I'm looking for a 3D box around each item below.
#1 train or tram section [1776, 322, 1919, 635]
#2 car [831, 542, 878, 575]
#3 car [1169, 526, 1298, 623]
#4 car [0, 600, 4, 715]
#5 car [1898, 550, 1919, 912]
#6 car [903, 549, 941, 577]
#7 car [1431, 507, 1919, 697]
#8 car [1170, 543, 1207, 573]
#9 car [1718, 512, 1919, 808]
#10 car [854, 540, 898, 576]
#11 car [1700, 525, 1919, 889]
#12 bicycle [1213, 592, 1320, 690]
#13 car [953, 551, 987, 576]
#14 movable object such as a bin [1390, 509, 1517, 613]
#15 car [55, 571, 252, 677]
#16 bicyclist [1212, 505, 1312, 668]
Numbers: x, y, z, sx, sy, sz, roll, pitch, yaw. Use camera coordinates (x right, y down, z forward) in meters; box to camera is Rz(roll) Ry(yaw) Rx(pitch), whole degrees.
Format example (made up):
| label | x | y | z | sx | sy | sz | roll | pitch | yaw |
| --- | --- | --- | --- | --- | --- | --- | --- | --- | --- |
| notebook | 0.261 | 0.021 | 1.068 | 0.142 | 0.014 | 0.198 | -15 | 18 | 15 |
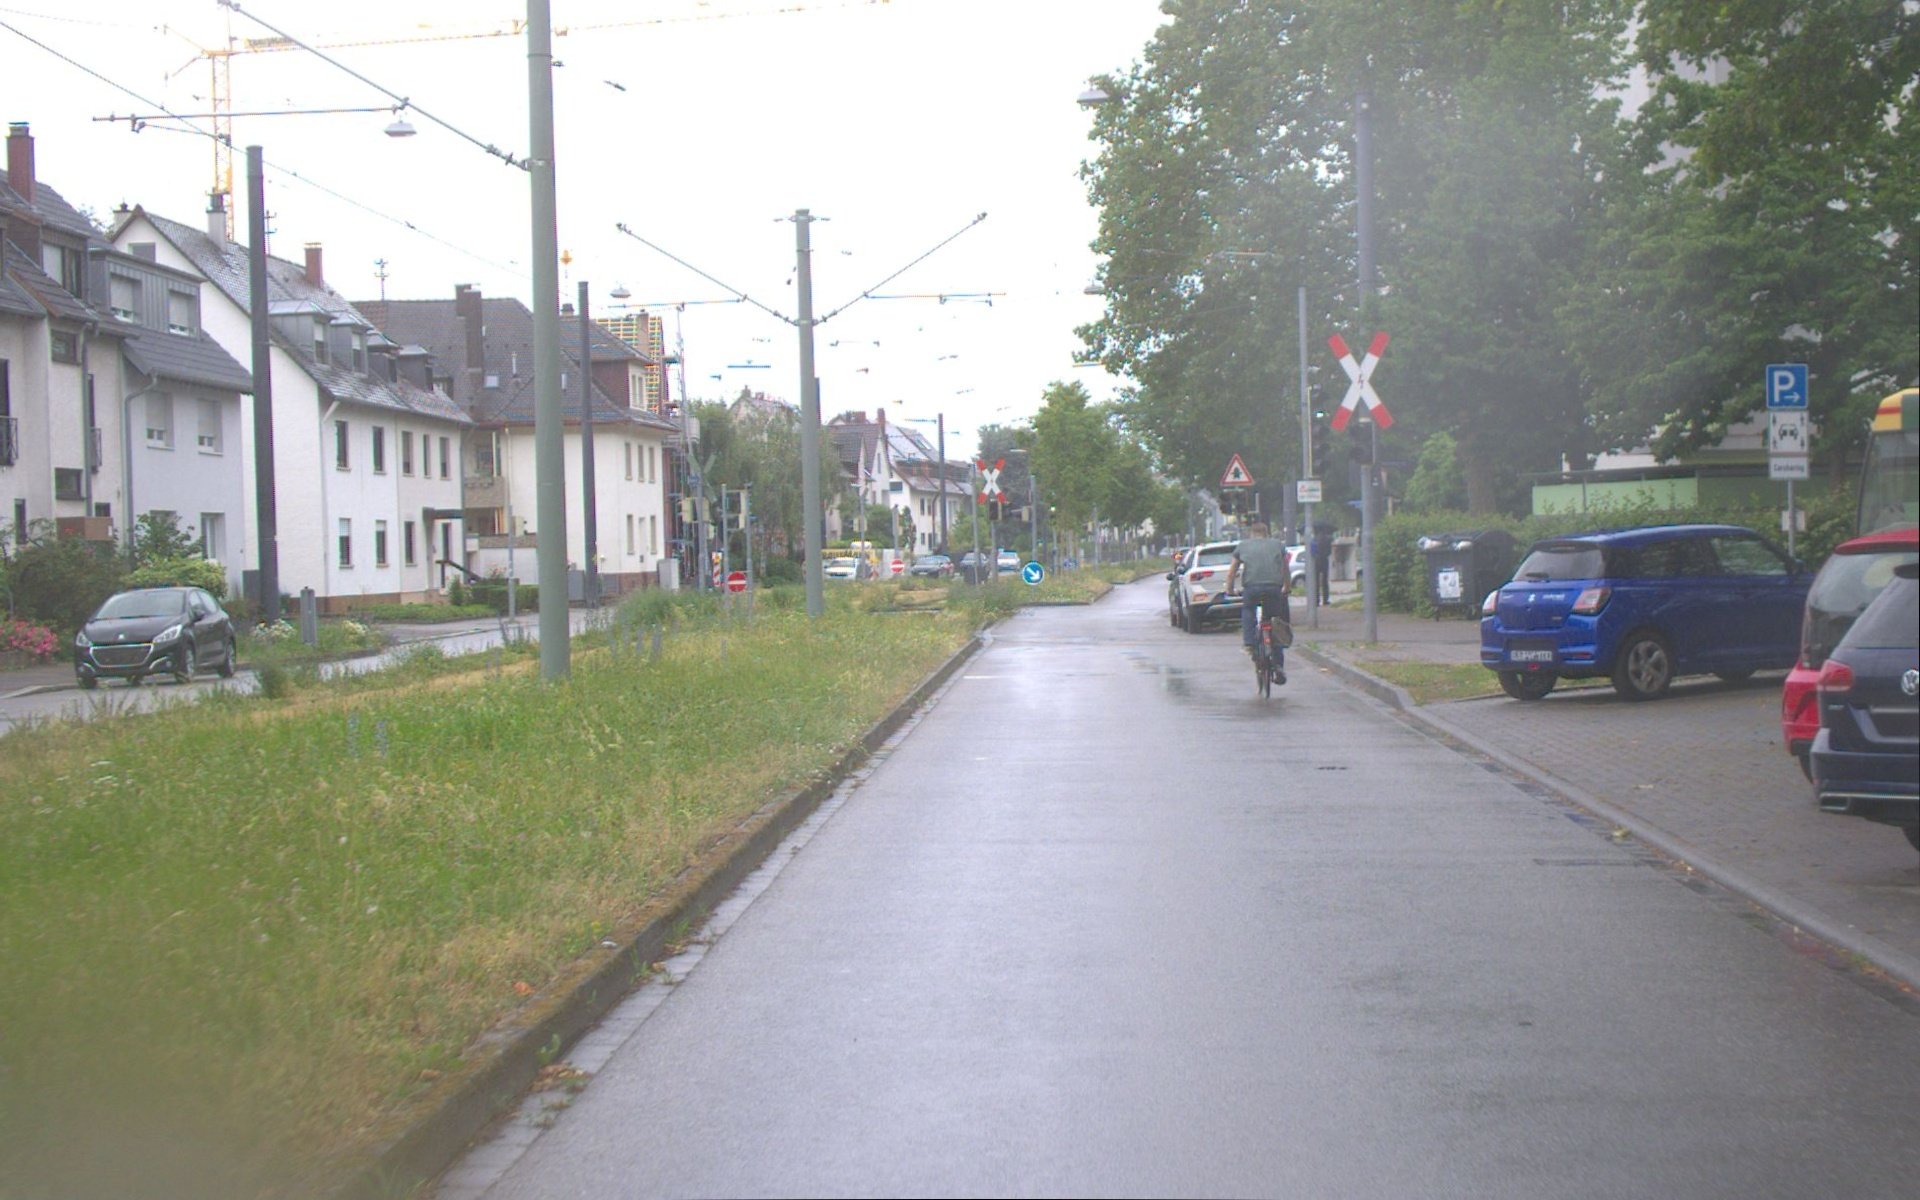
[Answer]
| label | x | y | z | sx | sy | sz | roll | pitch | yaw |
| --- | --- | --- | --- | --- | --- | --- | --- | --- | --- |
| train or tram section | 15.542 | -1.450 | 36.165 | 2.707 | 3.577 | 14.731 | -1 | 0 | -40 |
| car | -5.397 | -2.111 | 176.735 | 1.994 | 1.539 | 3.999 | -2 | -1 | 4 |
| car | 4.824 | -0.436 | 61.103 | 1.954 | 1.548 | 4.000 | -3 | 0 | 1 |
| car | -12.685 | 0.686 | 40.030 | 1.601 | 1.419 | 4.666 | -2 | -1 | 3 |
| car | 5.502 | 0.470 | 12.105 | 3.987 | 1.548 | 1.961 | -3 | 0 | -31 |
| car | -2.315 | -2.212 | 208.547 | 1.994 | 1.539 | 3.999 | -2 | -1 | 4 |
| car | 6.454 | -0.030 | 30.819 | 3.987 | 1.478 | 2.000 | -3 | 3 | -29 |
| car | 12.938 | -2.380 | 194.986 | 1.994 | 1.487 | 3.999 | -2 | -1 | 2 |
| car | 6.174 | 0.211 | 18.895 | 3.587 | 1.475 | 1.638 | -4 | 1 | -24 |
| car | -4.465 | -2.230 | 183.407 | 1.994 | 1.699 | 3.999 | -2 | -1 | 4 |
| car | 5.576 | 0.339 | 15.509 | 4.109 | 1.475 | 1.866 | -4 | 2 | -29 |
| bicycle | 3.007 | 0.393 | 33.888 | 0.821 | 0.909 | 1.985 | -2 | 0 | -1 |
| car | 0.692 | -2.473 | 234.386 | 1.994 | 1.539 | 3.999 | -2 | -1 | 4 |
| movable object such as a bin | 8.418 | -0.662 | 58.747 | 1.549 | 1.698 | 1.501 | -3 | 1 | -21 |
| car | -12.281 | 0.394 | 52.598 | 1.877 | 1.498 | 4.133 | -2 | -1 | 2 |
| bicyclist | 2.980 | -0.130 | 33.980 | 0.831 | 1.553 | 0.914 | -2 | 0 | 0 |
